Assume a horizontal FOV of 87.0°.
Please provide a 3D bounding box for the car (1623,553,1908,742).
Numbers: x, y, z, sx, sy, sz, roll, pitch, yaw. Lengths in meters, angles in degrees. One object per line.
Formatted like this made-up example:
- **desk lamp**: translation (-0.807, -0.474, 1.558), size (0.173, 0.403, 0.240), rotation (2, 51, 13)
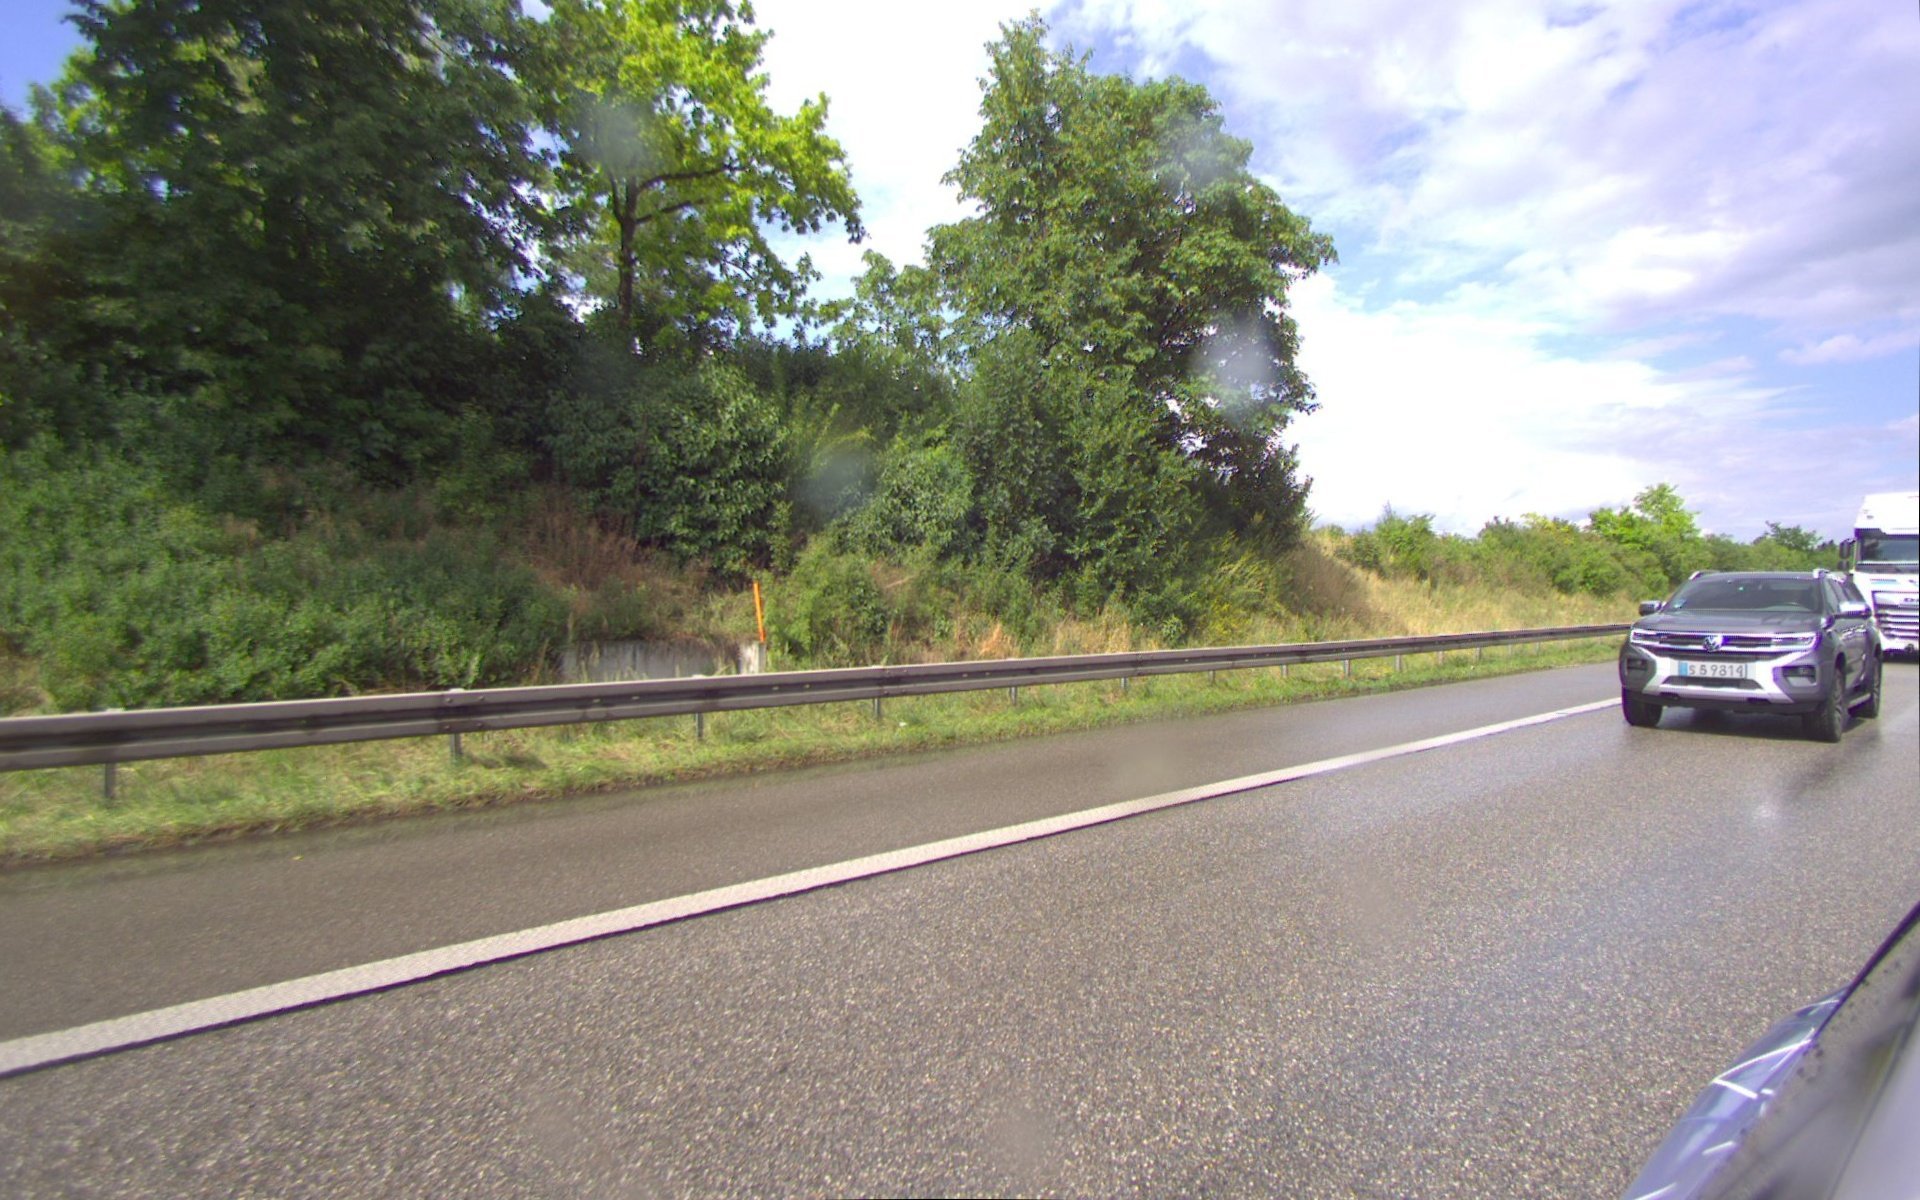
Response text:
- **car**: translation (9.893, 0.432, 12.242), size (5.214, 1.826, 1.830), rotation (0, 1, -42)

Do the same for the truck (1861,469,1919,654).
- **truck**: translation (23.666, -0.857, 24.292), size (5.240, 4.156, 2.458), rotation (0, 0, -42)

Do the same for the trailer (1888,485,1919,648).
- **trailer**: translation (29.454, -0.914, 29.436), size (12.005, 4.171, 2.448), rotation (-1, 0, -42)
